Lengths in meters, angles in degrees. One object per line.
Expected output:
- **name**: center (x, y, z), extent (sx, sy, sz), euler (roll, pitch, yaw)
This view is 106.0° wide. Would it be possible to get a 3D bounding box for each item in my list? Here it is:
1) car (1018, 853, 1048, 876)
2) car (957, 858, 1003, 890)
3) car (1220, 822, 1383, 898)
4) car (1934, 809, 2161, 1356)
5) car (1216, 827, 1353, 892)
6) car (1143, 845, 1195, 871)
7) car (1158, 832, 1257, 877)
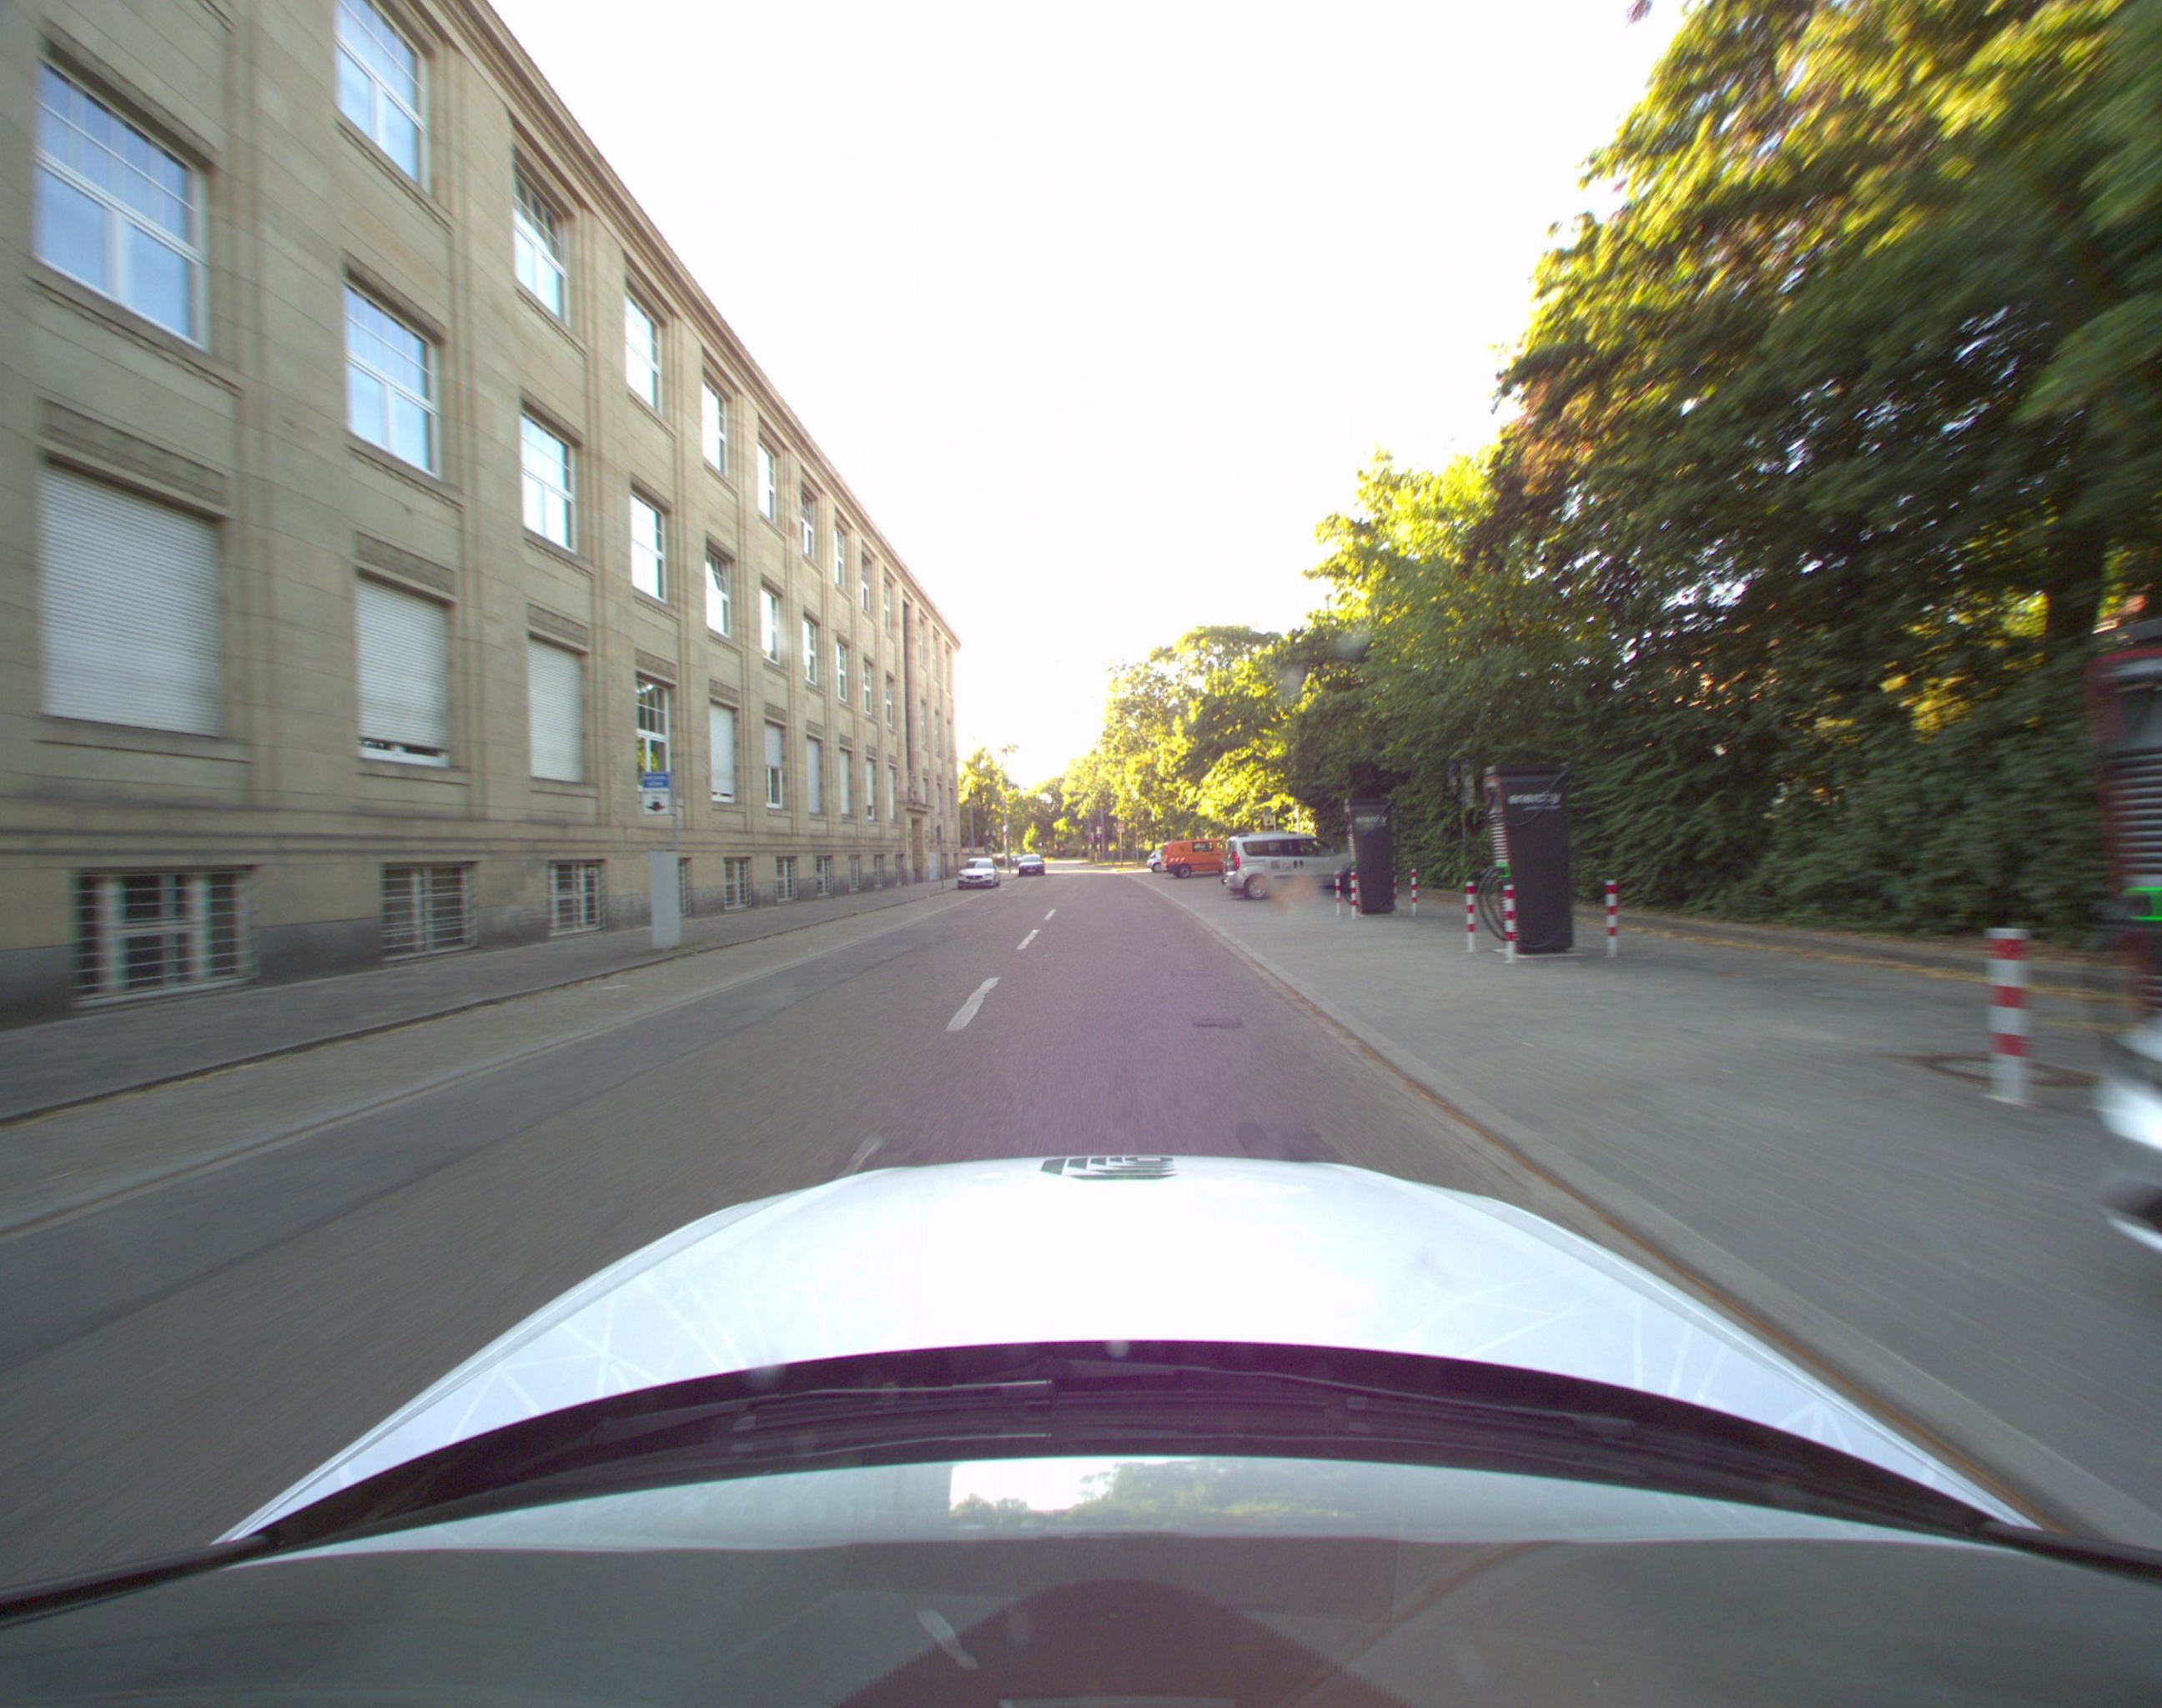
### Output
- **car**: center (-3.344, 0.679, 57.601), extent (1.873, 1.466, 4.372), euler (-2, 1, -1)
- **car**: center (-4.931, 0.962, 40.290), extent (1.722, 1.397, 4.371), euler (-2, 0, -1)
- **car**: center (6.365, 0.173, 23.935), extent (4.211, 1.859, 2.002), euler (-4, 0, 3)
- **car**: center (5.087, 0.504, 1.813), extent (4.425, 1.469, 1.783), euler (-3, 0, 1)
- **car**: center (6.557, 0.173, 26.570), extent (4.007, 1.835, 1.615), euler (-4, 0, 3)
- **car**: center (5.806, 0.277, 53.841), extent (3.138, 1.503, 1.538), euler (-4, 0, -5)
- **car**: center (6.662, 0.029, 43.294), extent (4.810, 2.013, 1.799), euler (-4, 0, -5)
